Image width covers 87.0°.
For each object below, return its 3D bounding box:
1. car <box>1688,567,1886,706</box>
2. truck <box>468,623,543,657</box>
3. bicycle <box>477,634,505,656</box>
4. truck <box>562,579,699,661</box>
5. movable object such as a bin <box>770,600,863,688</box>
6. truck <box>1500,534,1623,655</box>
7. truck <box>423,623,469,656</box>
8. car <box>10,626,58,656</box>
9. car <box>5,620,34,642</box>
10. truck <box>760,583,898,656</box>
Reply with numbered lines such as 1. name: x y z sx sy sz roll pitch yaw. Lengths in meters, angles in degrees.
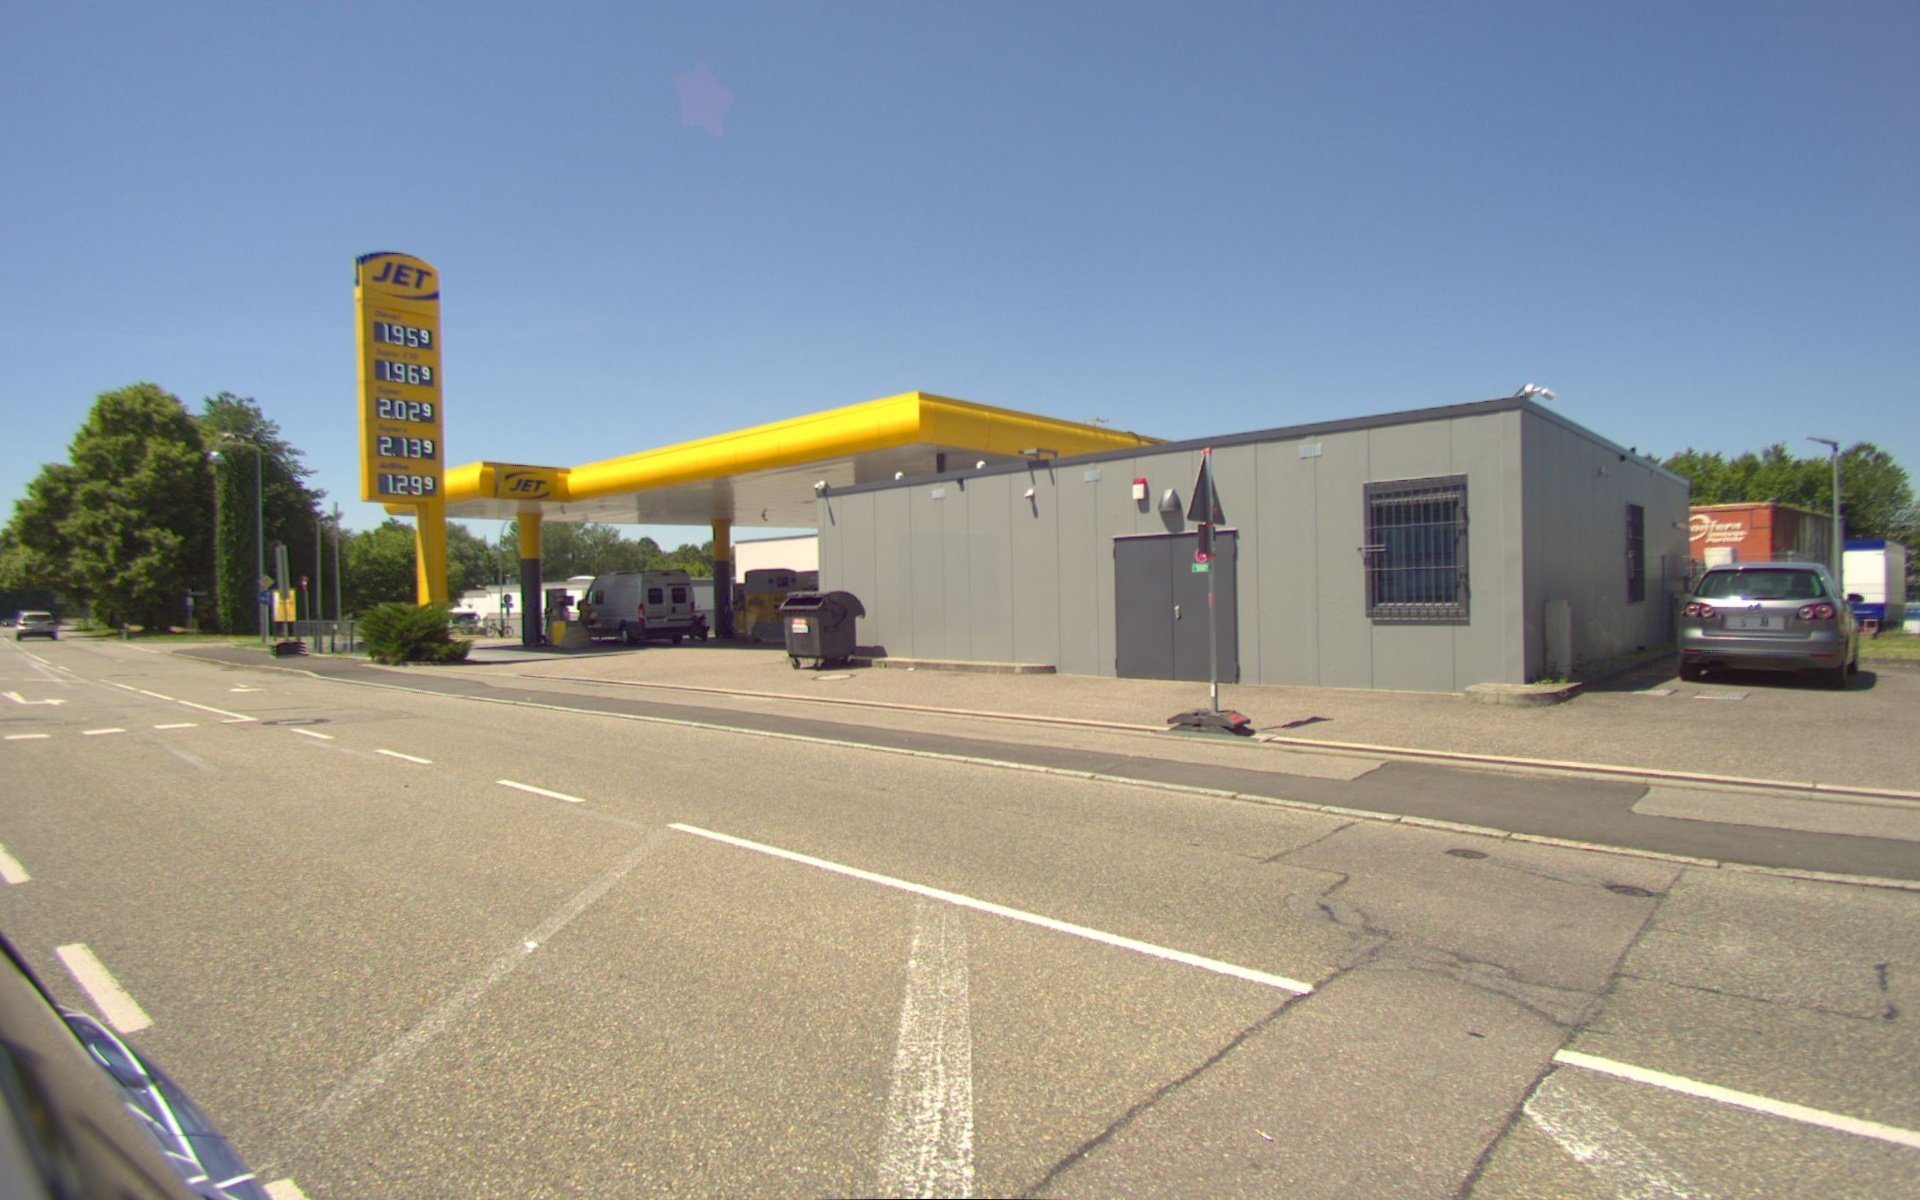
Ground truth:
1. car: 11.258 0.439 13.681 1.755 1.596 3.942 -1 -1 44
2. truck: -40.538 3.541 90.011 2.654 2.818 10.163 0 -1 -45
3. bicycle: -29.563 2.822 63.824 1.517 1.359 0.396 2 -2 -38
4. truck: -11.789 0.689 35.871 2.206 2.618 6.742 0 -1 -41
5. movable object such as a bin: -2.716 0.823 19.149 1.427 1.528 0.942 -3 2 42
6. truck: 19.579 -0.131 32.717 2.154 3.452 7.790 -1 -1 40
7. truck: -48.968 3.683 96.312 2.402 2.950 8.180 -1 -1 -38
8. car: -54.351 2.381 59.389 1.946 1.685 4.252 1 -2 -44
9. car: -91.577 3.063 98.497 1.775 1.786 4.366 7 -10 -44
10. truck: -5.315 0.751 40.018 2.877 2.618 6.619 0 -1 -32
